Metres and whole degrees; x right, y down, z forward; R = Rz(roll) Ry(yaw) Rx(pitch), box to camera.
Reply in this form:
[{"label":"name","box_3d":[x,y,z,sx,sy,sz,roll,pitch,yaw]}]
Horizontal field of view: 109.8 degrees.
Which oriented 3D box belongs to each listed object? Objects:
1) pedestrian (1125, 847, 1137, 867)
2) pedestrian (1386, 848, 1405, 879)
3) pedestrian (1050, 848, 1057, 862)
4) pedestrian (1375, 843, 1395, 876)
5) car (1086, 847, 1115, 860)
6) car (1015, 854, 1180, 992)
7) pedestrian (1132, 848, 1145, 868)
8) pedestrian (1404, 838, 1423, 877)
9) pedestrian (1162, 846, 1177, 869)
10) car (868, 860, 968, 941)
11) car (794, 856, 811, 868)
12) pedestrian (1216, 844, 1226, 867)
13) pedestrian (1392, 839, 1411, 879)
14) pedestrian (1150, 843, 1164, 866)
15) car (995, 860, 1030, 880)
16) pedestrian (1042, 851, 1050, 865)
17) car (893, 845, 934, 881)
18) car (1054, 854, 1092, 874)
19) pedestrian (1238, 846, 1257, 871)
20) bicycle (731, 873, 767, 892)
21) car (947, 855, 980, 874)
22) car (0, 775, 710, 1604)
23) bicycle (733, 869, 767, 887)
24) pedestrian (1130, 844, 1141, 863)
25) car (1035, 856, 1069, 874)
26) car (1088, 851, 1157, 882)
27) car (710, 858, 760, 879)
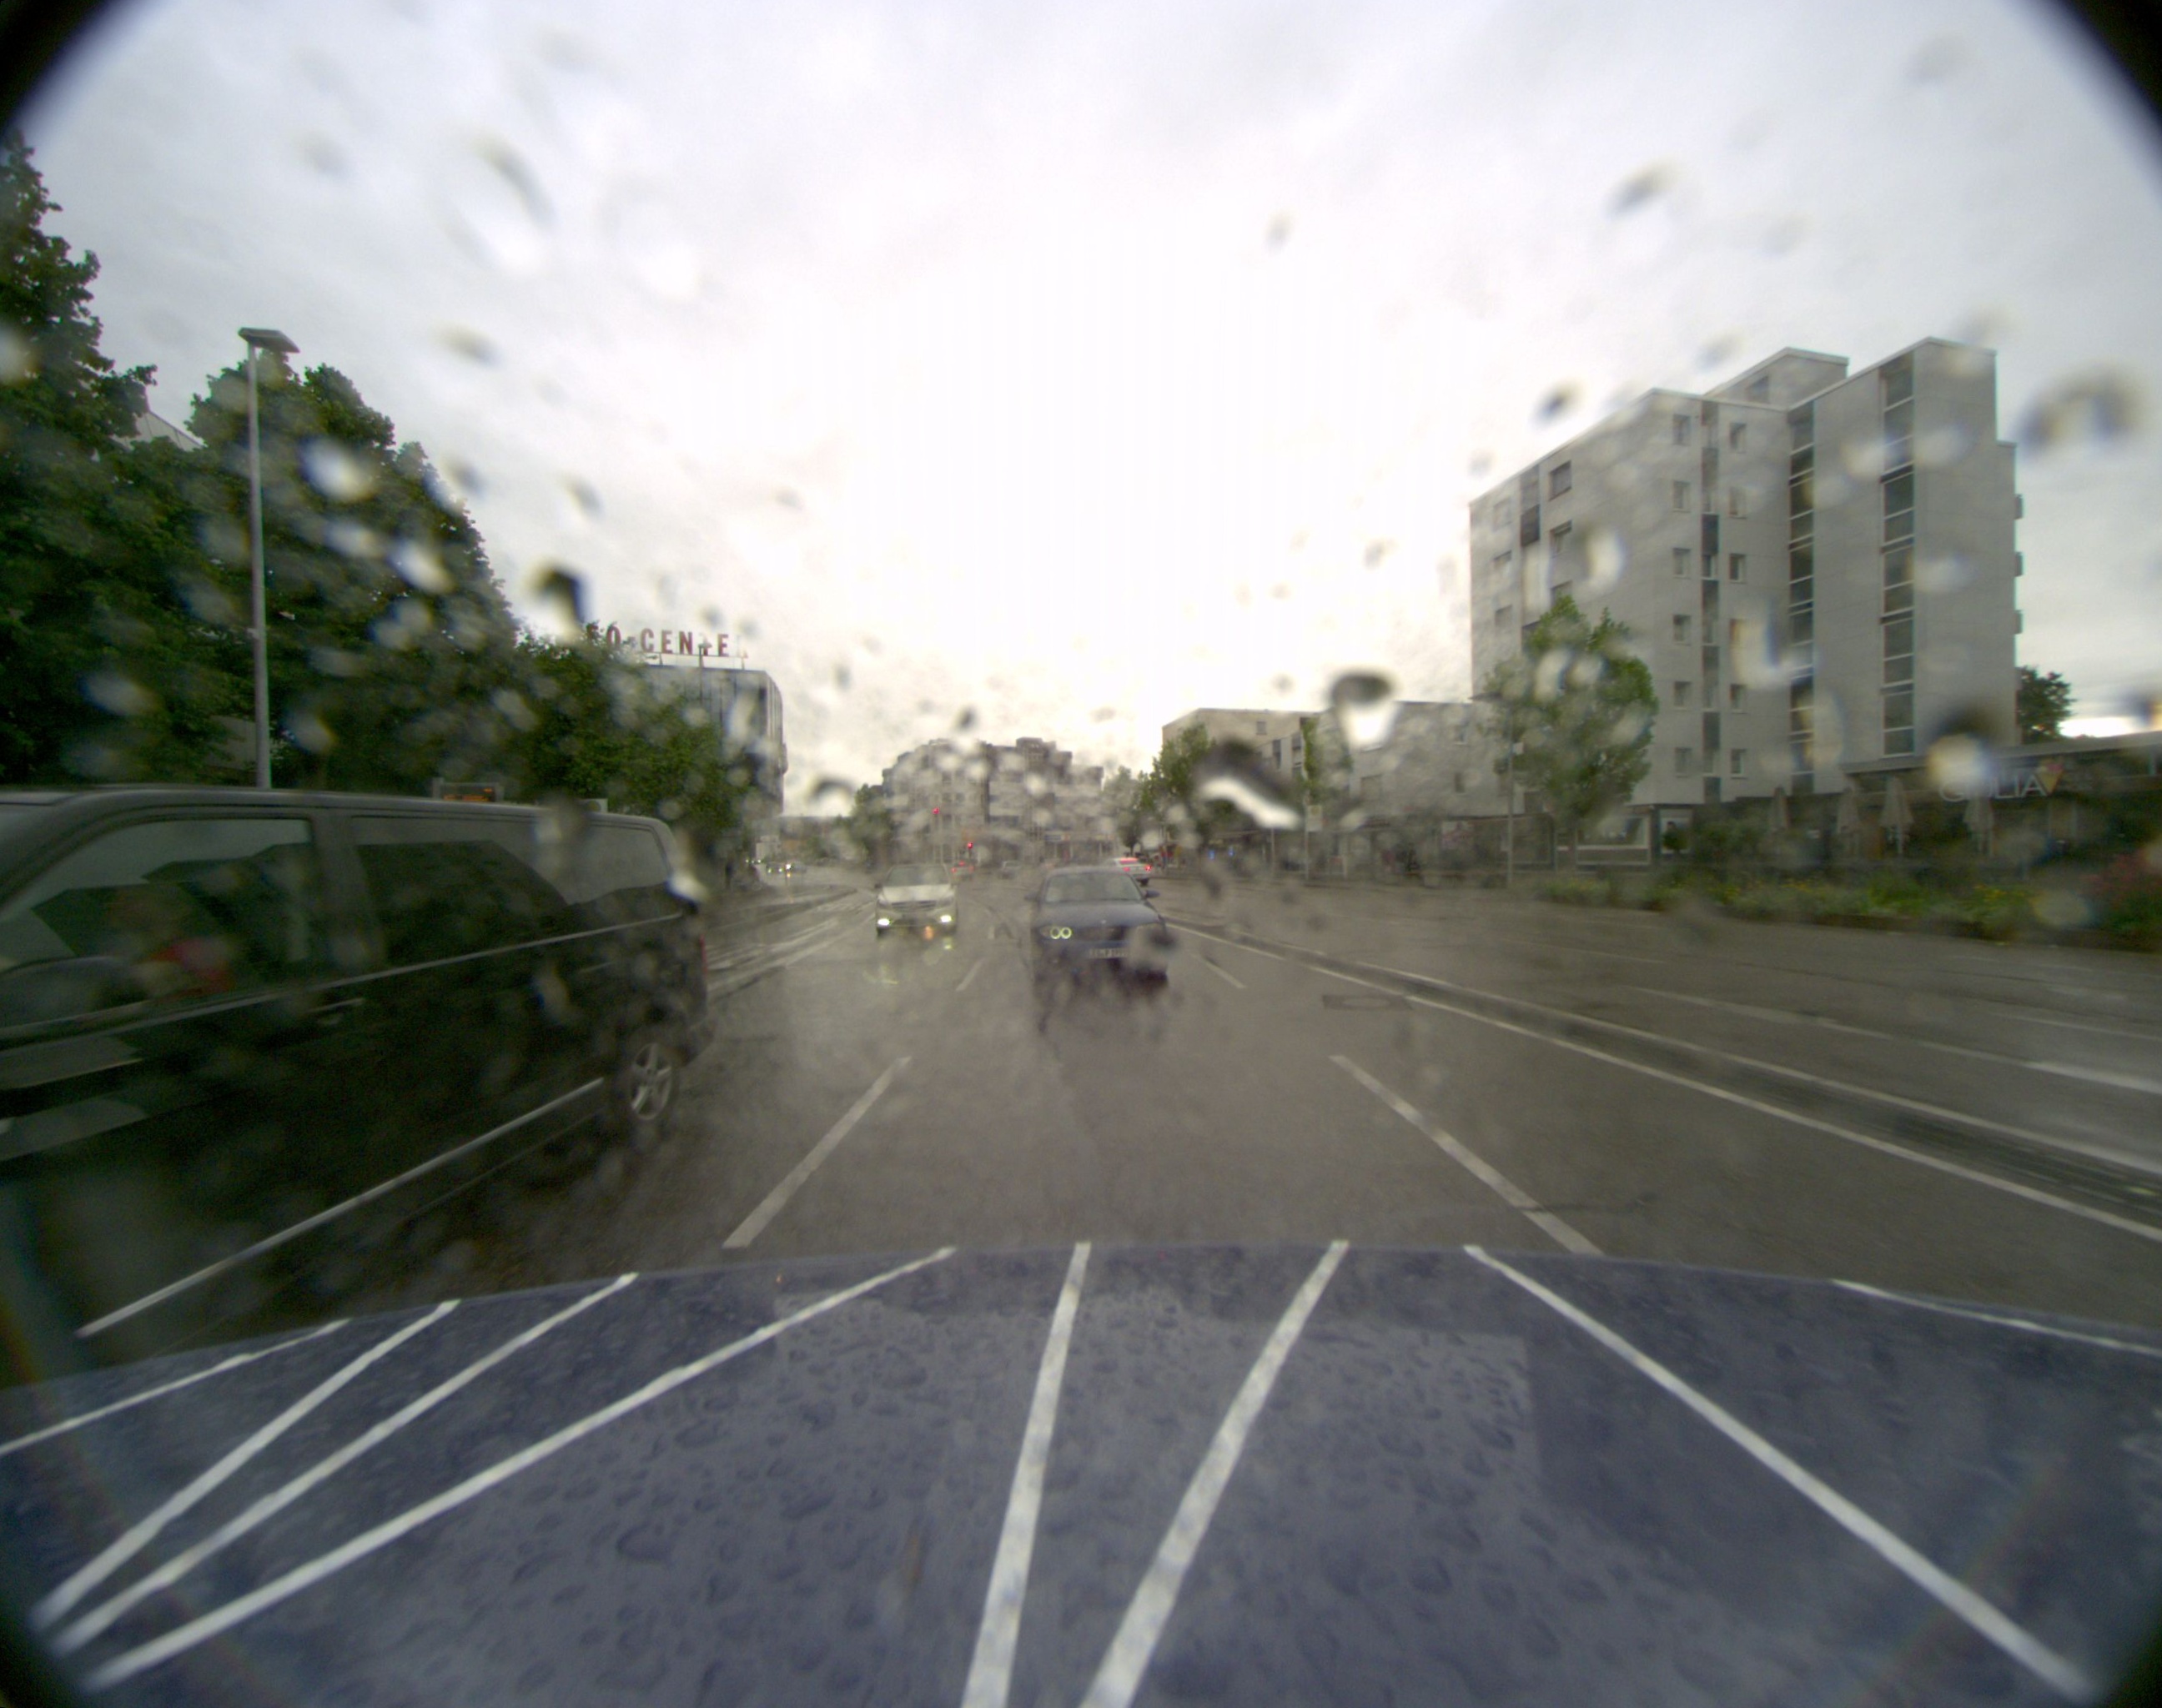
[{"label":"pedestrian","box_3d":[4.780,0.294,72.360,0.906,1.904,0.977,-2,0,-10]},{"label":"pedestrian","box_3d":[14.010,0.428,33.822,0.536,1.344,0.578,-2,1,-8]},{"label":"pedestrian","box_3d":[-3.329,0.128,91.861,0.682,1.733,0.585,-2,1,11]},{"label":"pedestrian","box_3d":[13.886,0.250,34.745,0.537,1.496,0.614,-2,1,-37]},{"label":"car","box_3d":[2.804,-0.071,109.265,3.902,1.710,1.743,-2,1,-32]},{"label":"car","box_3d":[0.034,0.818,10.790,1.677,1.534,3.910,-2,0,-8]},{"label":"pedestrian","box_3d":[5.479,0.396,72.565,0.906,1.904,0.976,-2,0,-15]},{"label":"pedestrian","box_3d":[14.230,0.164,32.538,0.536,1.649,0.479,-2,1,-8]},{"label":"pedestrian","box_3d":[7.711,0.308,66.293,0.906,2.002,0.976,-2,0,-15]},{"label":"car","box_3d":[-3.778,0.995,18.322,1.762,1.540,4.324,-4,1,-5]},{"label":"car","box_3d":[-37.611,1.122,102.503,1.904,1.517,3.992,-2,0,-24]},{"label":"pedestrian","box_3d":[11.077,0.130,60.185,0.550,1.740,0.680,-2,0,-12]},{"label":"pedestrian","box_3d":[13.589,0.200,32.259,0.479,1.649,0.536,-2,1,-13]},{"label":"pedestrian","box_3d":[6.582,0.048,65.866,0.906,2.002,0.976,-2,0,-15]},{"label":"car","box_3d":[-5.516,1.262,60.901,1.707,1.457,4.096,-1,0,-21]},{"label":"pedestrian","box_3d":[-4.184,0.471,90.296,0.839,1.733,0.584,-3,1,-8]},{"label":"car","box_3d":[-7.557,0.381,34.128,1.634,1.481,3.835,-2,0,-14]},{"label":"car","box_3d":[-0.634,0.753,56.623,1.764,1.418,3.995,-2,0,-16]},{"label":"pedestrian","box_3d":[11.436,0.300,52.260,1.011,1.636,0.726,-2,1,-15]},{"label":"bicycle","box_3d":[-19.392,1.681,44.431,1.808,1.077,0.684,0,-6,-16]},{"label":"car","box_3d":[-9.503,0.885,61.266,1.765,1.442,3.994,-2,0,-21]},{"label":"car","box_3d":[-3.471,0.783,2.625,2.000,1.883,4.586,-2,1,1]},{"label":"bicycle","box_3d":[-20.603,1.494,47.308,1.837,1.104,0.693,0,1,-16]},{"label":"pedestrian","box_3d":[5.724,-0.051,79.946,0.761,2.002,0.863,-2,0,-15]},{"label":"car","box_3d":[-2.485,0.909,63.946,1.764,1.418,4.881,-2,1,-14]},{"label":"car","box_3d":[2.086,0.641,39.773,1.849,1.452,4.801,-2,0,-19]},{"label":"car","box_3d":[-36.377,1.528,79.925,4.604,2.002,1.995,-2,1,-29]}]
